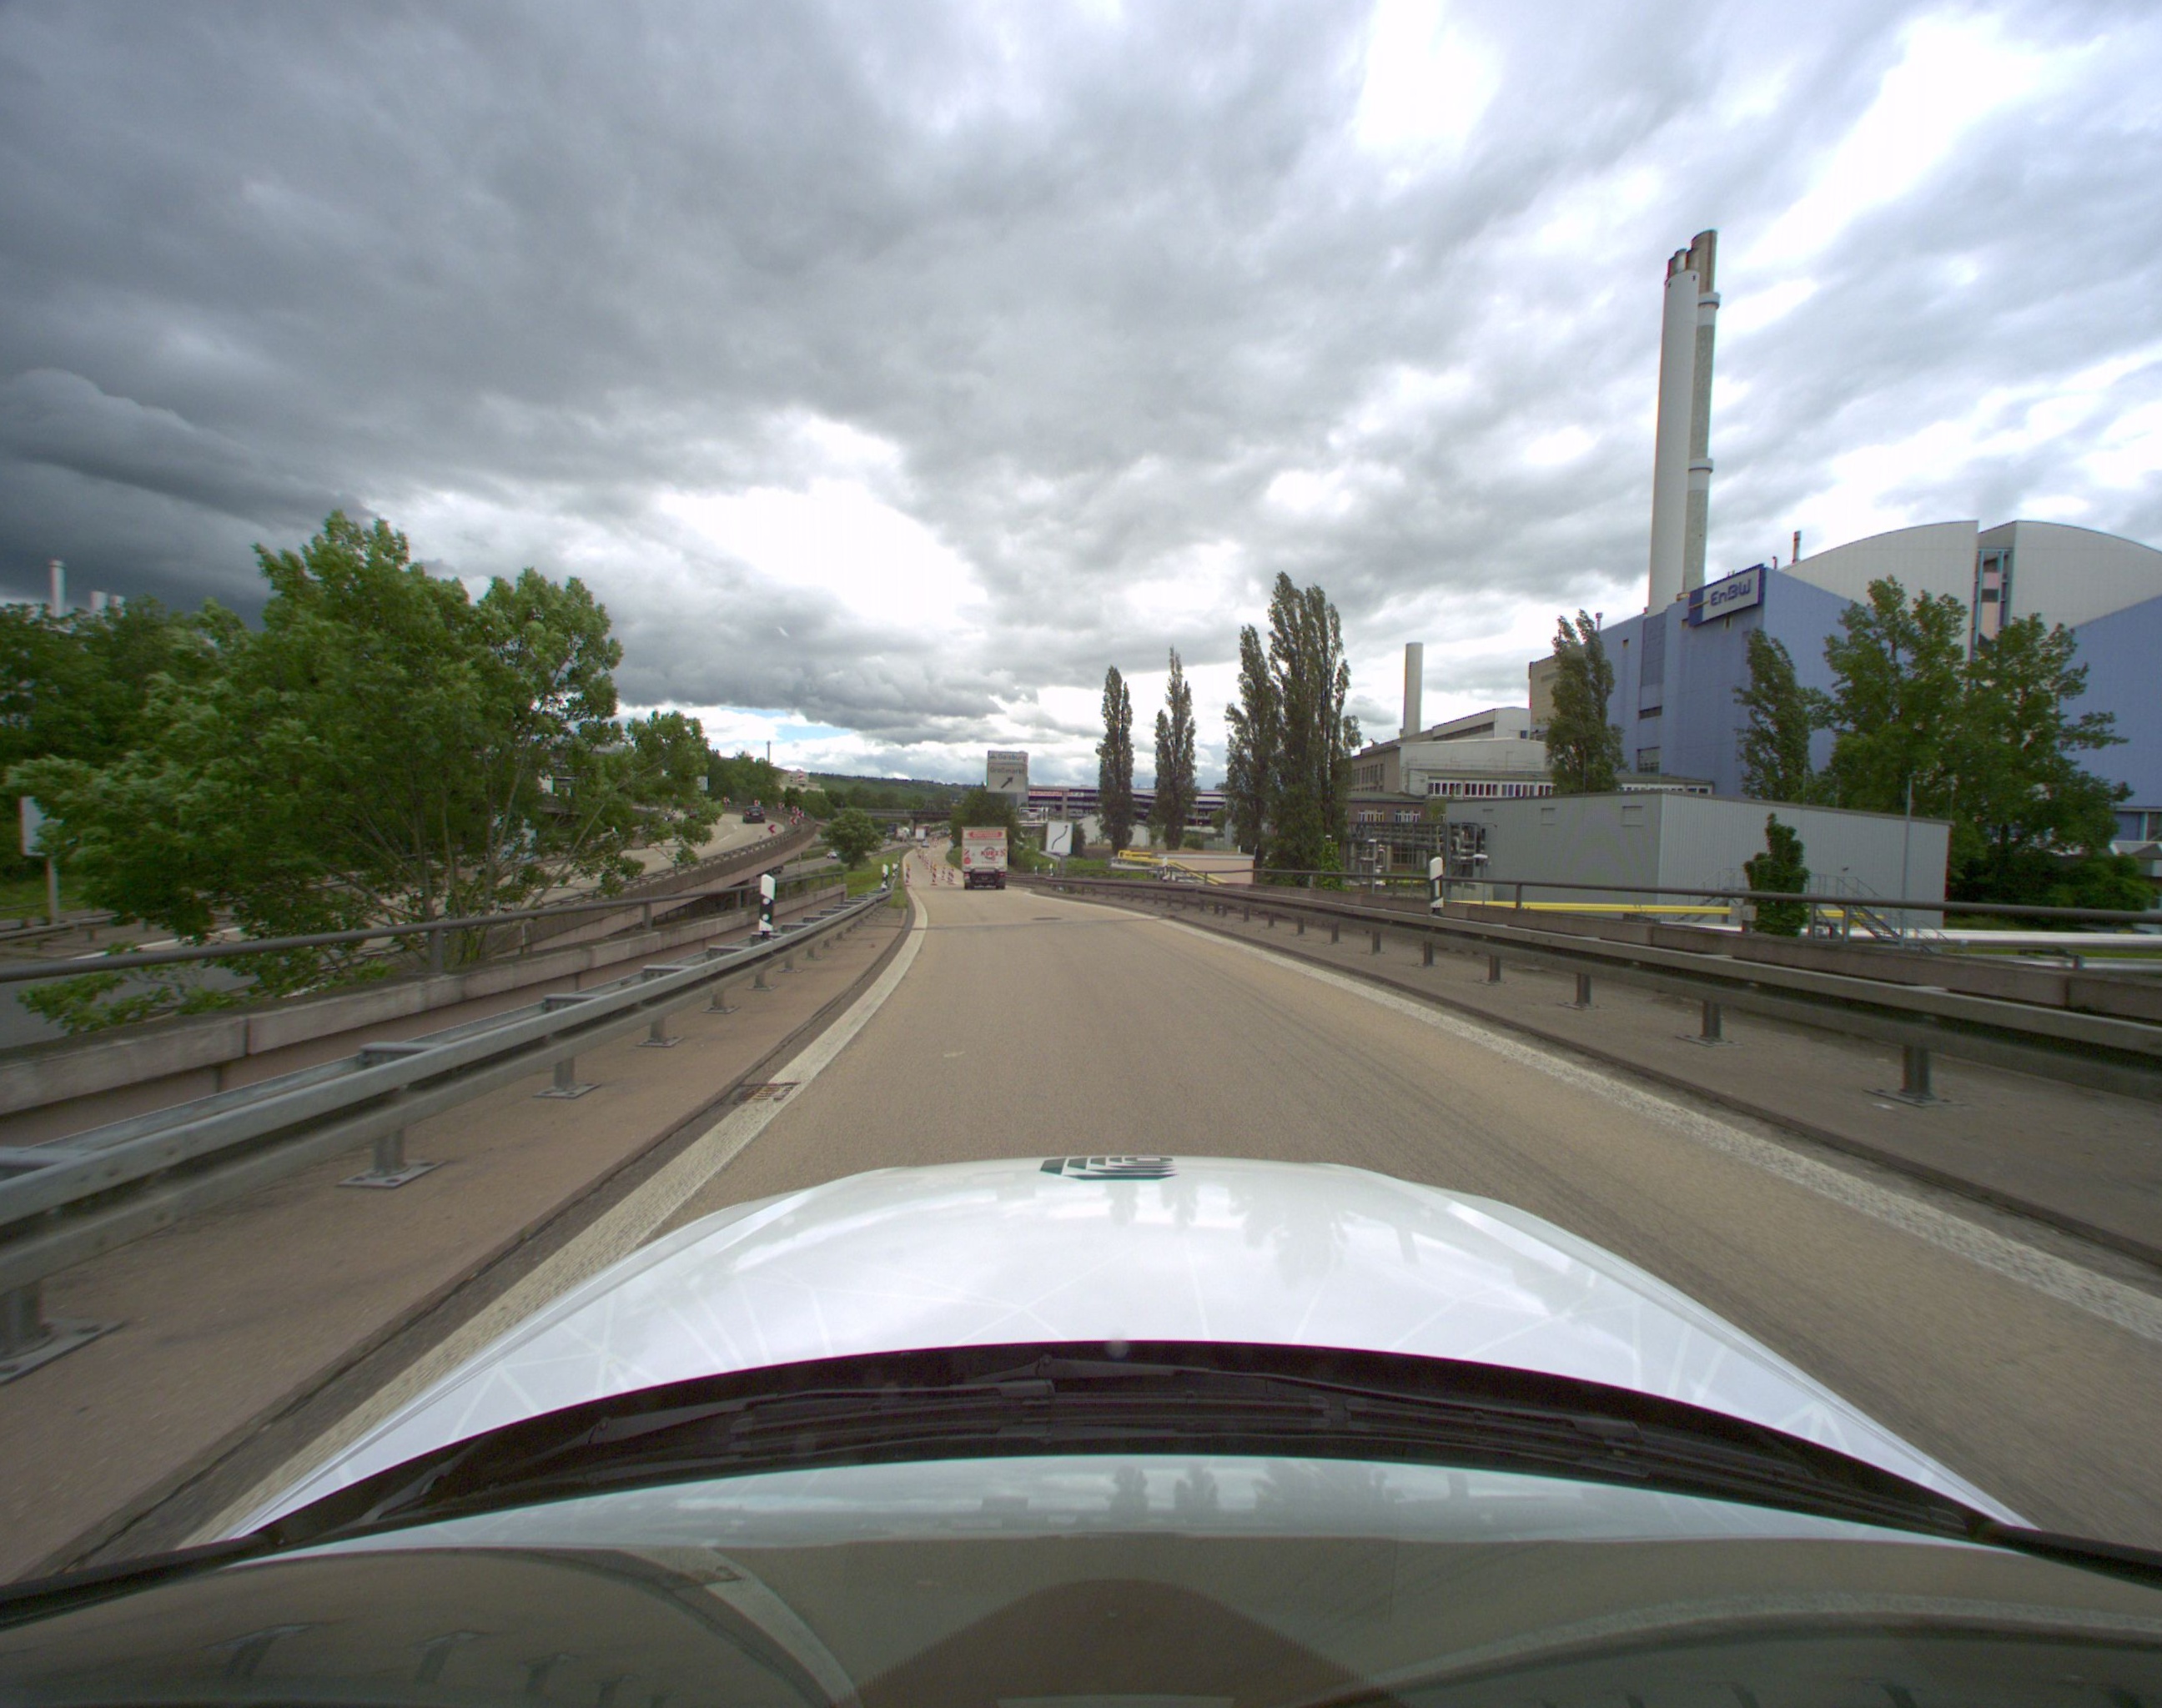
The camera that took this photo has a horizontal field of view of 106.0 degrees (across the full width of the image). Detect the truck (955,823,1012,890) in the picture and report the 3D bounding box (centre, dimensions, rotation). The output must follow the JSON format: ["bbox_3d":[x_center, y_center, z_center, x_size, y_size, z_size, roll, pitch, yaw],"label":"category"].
[{"bbox_3d":[-5.960,0.208,49.266,3.049,3.673,7.904,1,-1,-8],"label":"truck"}]

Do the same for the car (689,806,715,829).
[{"bbox_3d":[-33.708,-3.223,72.447,2.003,1.772,3.968,1,-1,-24],"label":"car"}]

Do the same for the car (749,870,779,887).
[{"bbox_3d":[-36.391,2.788,93.642,1.989,1.712,4.097,2,2,-3],"label":"car"}]

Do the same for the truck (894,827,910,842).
[{"bbox_3d":[-48.156,-5.182,219.335,3.284,3.852,7.645,1,2,-8],"label":"truck"}]

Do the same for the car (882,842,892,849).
[{"bbox_3d":[-46.401,-2.081,194.864,1.992,1.617,3.990,1,2,-8],"label":"car"}]

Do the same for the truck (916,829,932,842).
[{"bbox_3d":[-43.425,-5.156,225.054,3.279,3.599,7.657,2,2,-3],"label":"truck"}]

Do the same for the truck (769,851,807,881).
[{"bbox_3d":[-38.492,1.516,107.375,3.048,3.655,7.379,1,2,-7],"label":"truck"}]

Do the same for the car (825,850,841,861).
[{"bbox_3d":[-42.675,0.285,139.996,1.992,1.617,3.990,1,2,-8],"label":"car"}]
